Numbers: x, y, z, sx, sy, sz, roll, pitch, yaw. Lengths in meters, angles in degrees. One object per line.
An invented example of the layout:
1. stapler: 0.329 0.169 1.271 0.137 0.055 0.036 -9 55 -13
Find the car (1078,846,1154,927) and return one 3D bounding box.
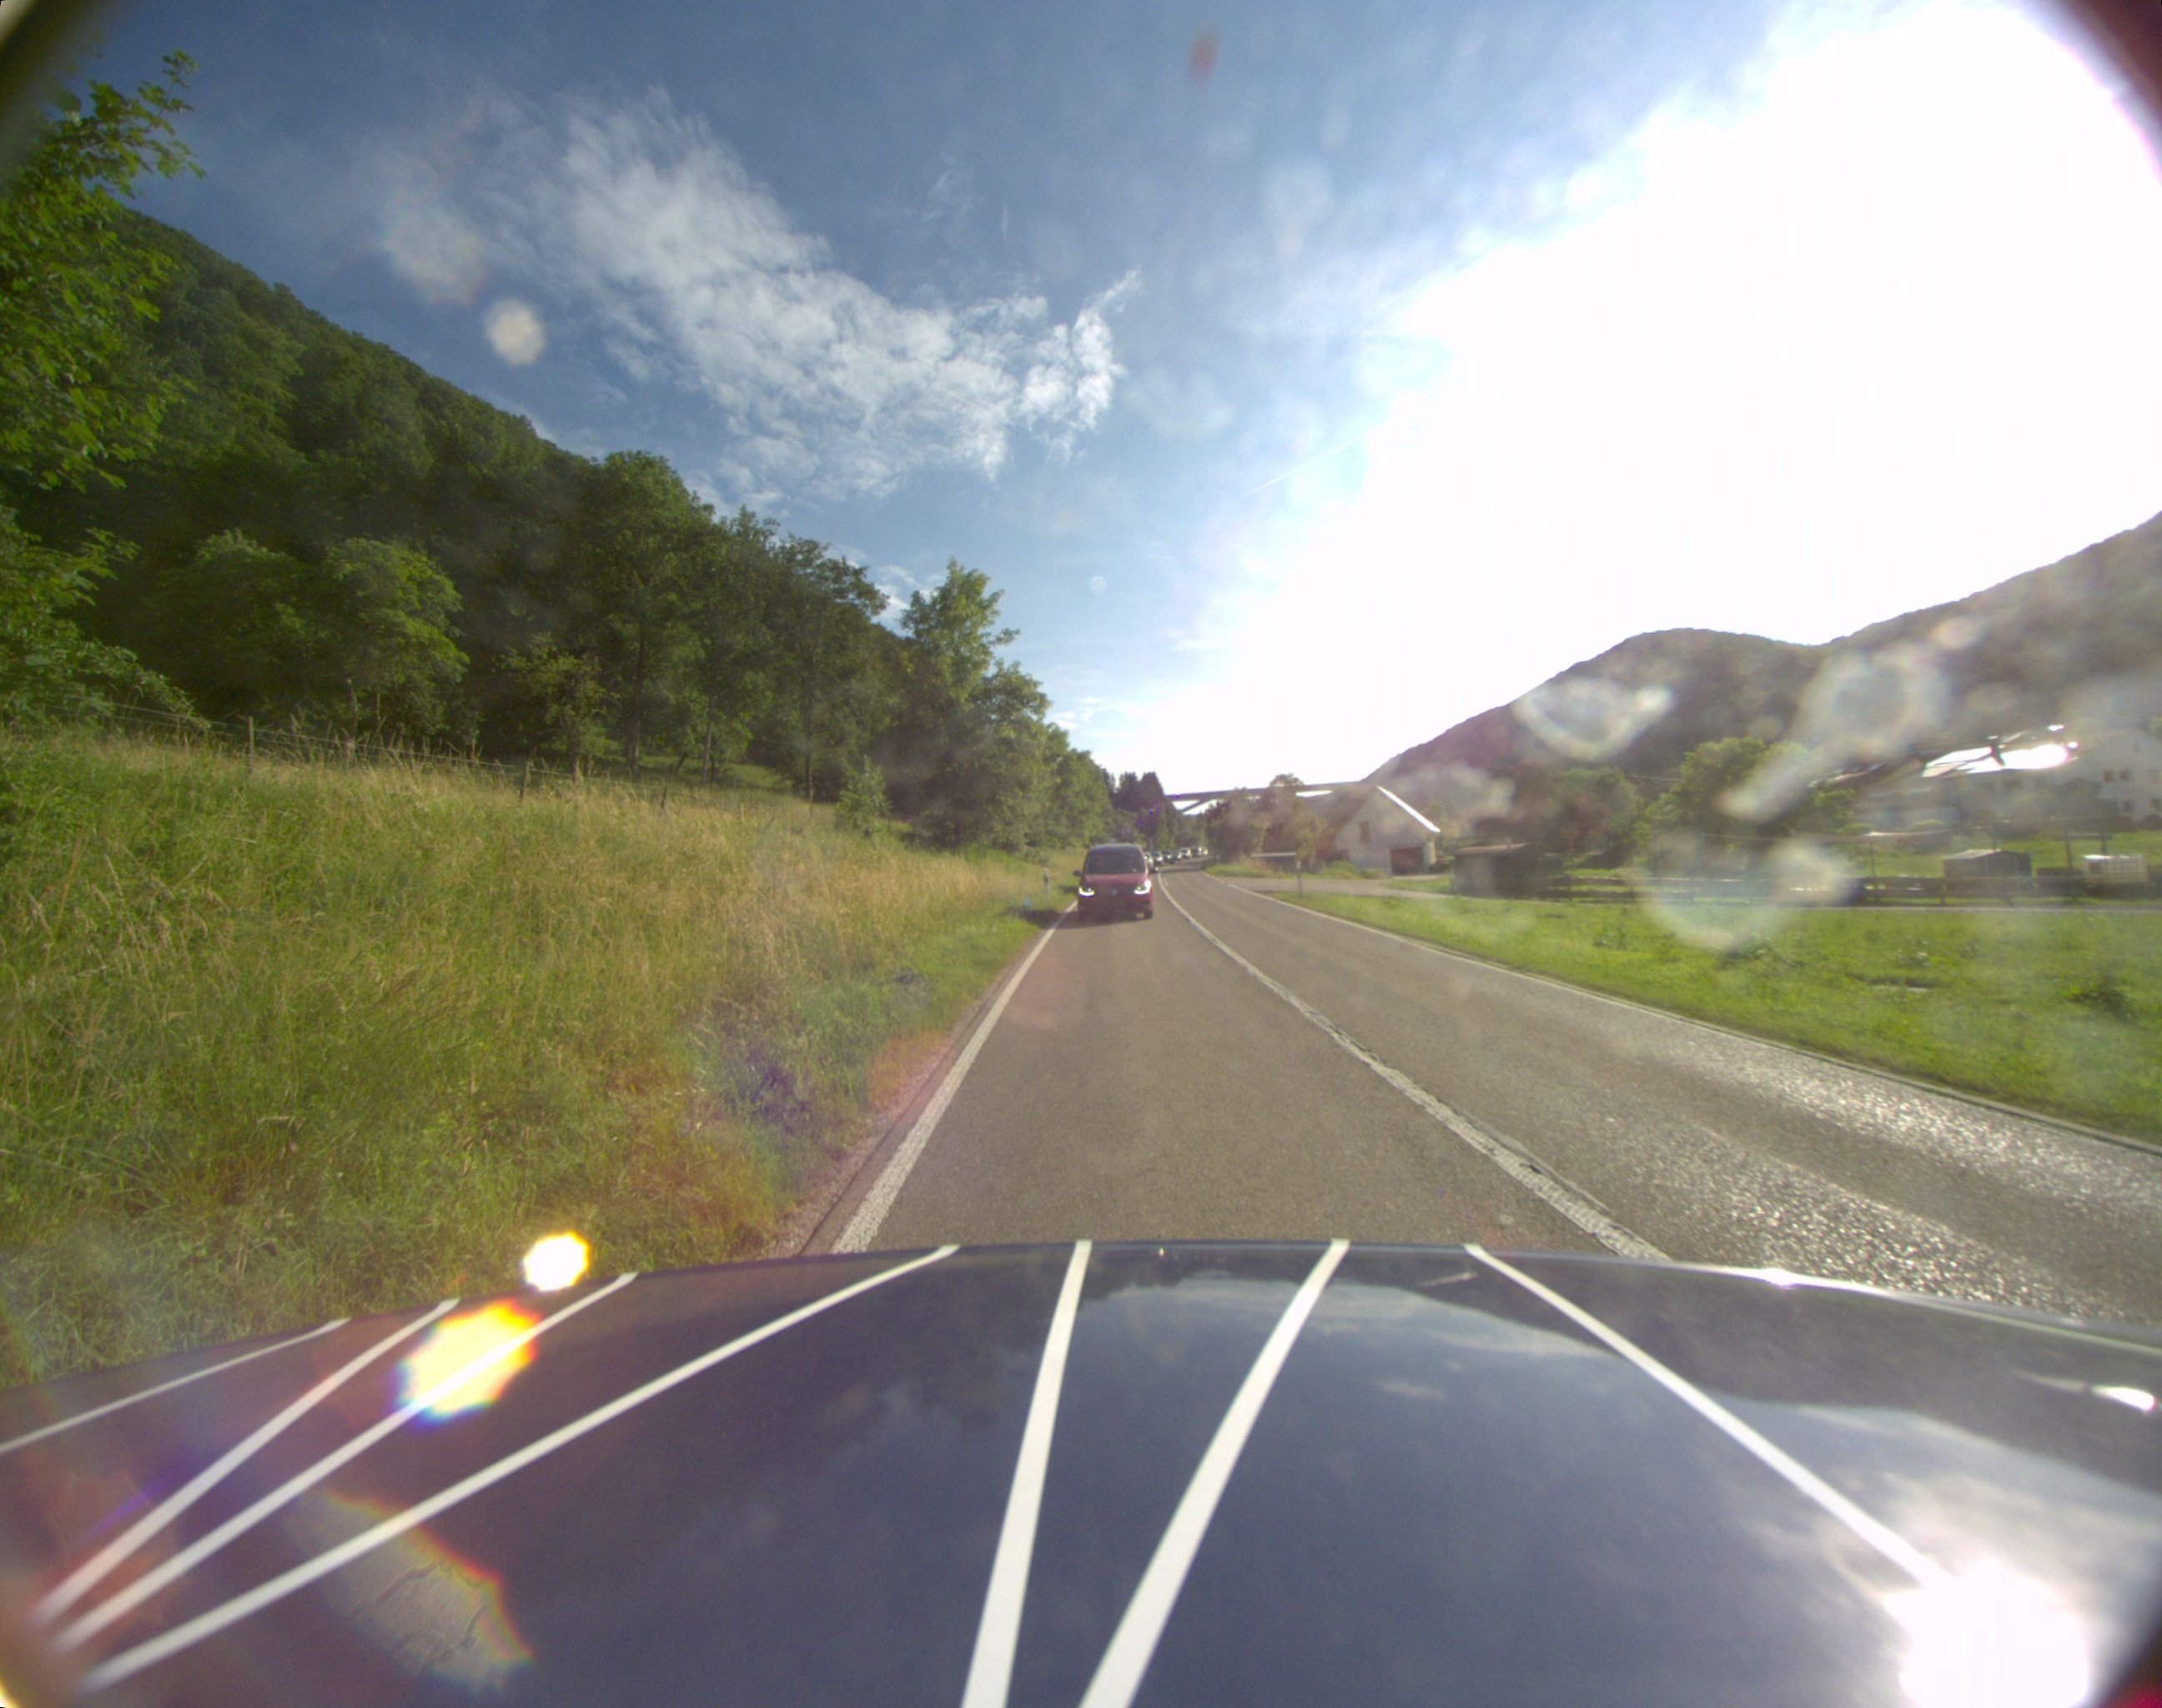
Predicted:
1. car: 0.795 0.699 18.940 1.649 1.762 3.999 -2 1 1

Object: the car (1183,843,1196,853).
1. car: 16.611 -0.911 116.420 1.629 1.470 3.680 -2 1 3

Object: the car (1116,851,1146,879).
1. car: 2.925 0.603 44.304 1.629 1.470 3.680 -2 1 4

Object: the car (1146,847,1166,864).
1. car: 7.230 0.115 73.601 1.630 1.470 3.679 -2 1 1

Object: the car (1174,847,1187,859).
1. car: 13.308 -0.161 101.455 1.629 1.470 3.681 -2 1 8

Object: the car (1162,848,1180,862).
1. car: 10.177 0.137 86.023 1.630 1.470 3.679 -2 1 1

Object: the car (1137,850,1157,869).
1. car: 5.609 0.444 65.044 1.629 1.470 3.680 -2 1 4
